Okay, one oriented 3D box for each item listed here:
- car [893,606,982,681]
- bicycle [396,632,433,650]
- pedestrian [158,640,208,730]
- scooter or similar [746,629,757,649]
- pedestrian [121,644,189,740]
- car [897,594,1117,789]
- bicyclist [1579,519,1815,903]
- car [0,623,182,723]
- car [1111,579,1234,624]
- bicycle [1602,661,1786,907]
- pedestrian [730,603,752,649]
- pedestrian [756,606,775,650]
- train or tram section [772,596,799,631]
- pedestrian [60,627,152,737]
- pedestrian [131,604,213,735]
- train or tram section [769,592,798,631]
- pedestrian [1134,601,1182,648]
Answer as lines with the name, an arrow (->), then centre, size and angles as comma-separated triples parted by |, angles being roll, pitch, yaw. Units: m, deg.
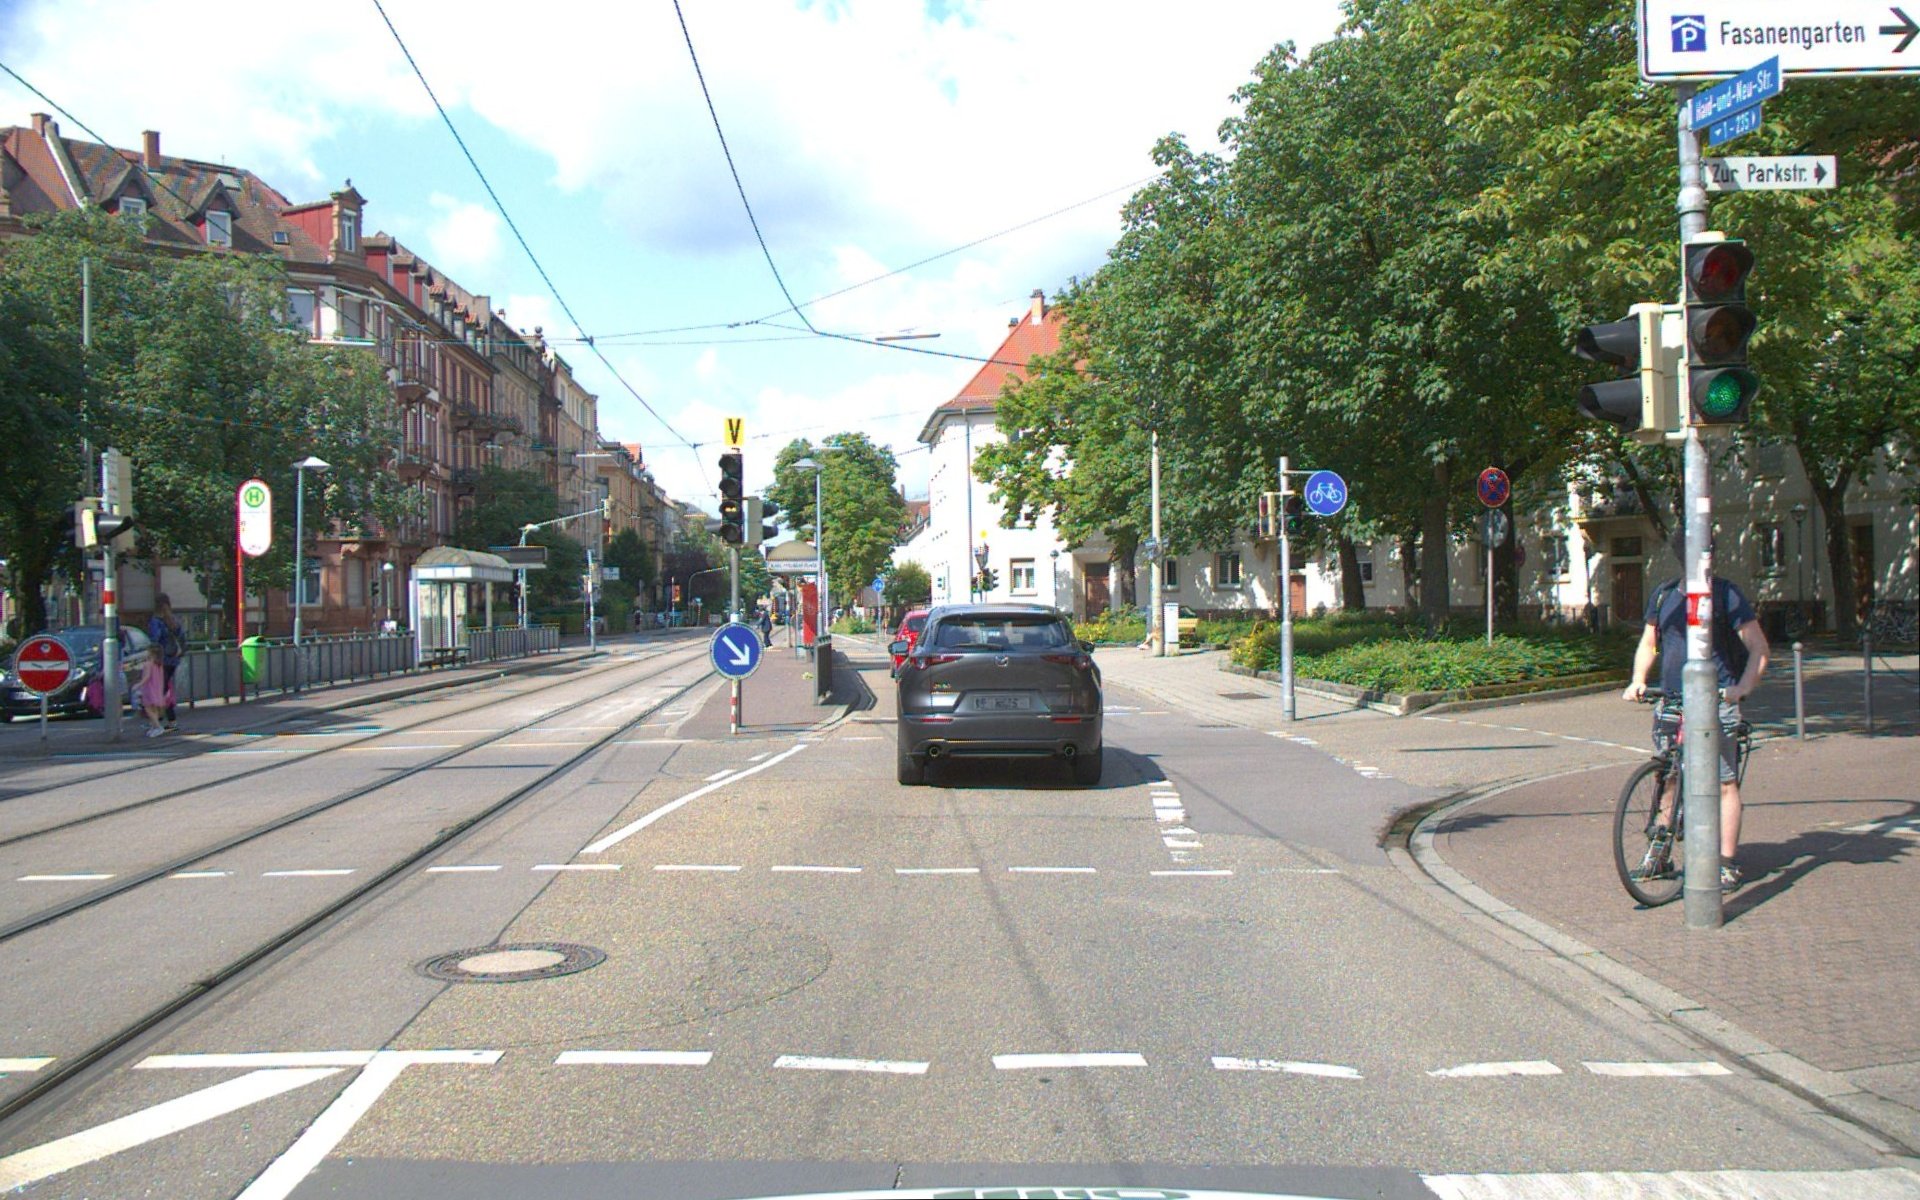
car -> -0.528, 0.885, 35.054 | 1.740, 1.490, 3.840 | 1, 0, -3
bicycle -> -24.228, 1.832, 73.491 | 0.378, 0.760, 1.707 | -1, 0, 31
pedestrian -> -10.043, 1.090, 21.391 | 0.429, 1.127, 0.422 | -3, 0, -10
scooter or similar -> -7.678, 1.439, 60.895 | 0.406, 0.733, 0.486 | -1, 0, -6
pedestrian -> -9.842, 1.119, 20.228 | 0.629, 1.133, 0.443 | -1, -1, -10
car -> 0.348, 0.762, 15.304 | 1.746, 1.540, 3.999 | 1, -1, -1
bicyclist -> 3.779, 0.532, 8.511 | 0.724, 1.851, 0.813 | -1, -1, -27
car -> -14.080, 1.135, 26.686 | 1.593, 1.411, 3.433 | -2, 0, -4
car -> 7.812, 0.062, 60.925 | 4.090, 1.536, 1.844 | -1, 1, 37
bicycle -> 3.826, 0.888, 8.549 | 0.382, 1.053, 1.836 | -2, 0, 39
pedestrian -> -8.140, 0.972, 61.611 | 0.756, 1.704, 0.667 | -1, 0, -6
pedestrian -> -7.153, 1.024, 60.937 | 0.654, 1.573, 0.580 | -1, -1, -6
train or tram section -> -20.874, 1.687, 198.448 | 2.939, 4.053, 13.792 | -1, -1, -5
pedestrian -> -10.986, 1.043, 21.291 | 0.810, 1.326, 0.716 | -3, 0, -10
pedestrian -> -9.890, 0.859, 20.775 | 0.714, 1.593, 0.797 | -1, -1, -10
train or tram section -> -19.650, 1.342, 184.693 | 2.939, 4.053, 13.792 | -1, -1, -5
pedestrian -> 5.671, 0.696, 47.398 | 1.170, 1.291, 0.556 | -3, 0, -10
